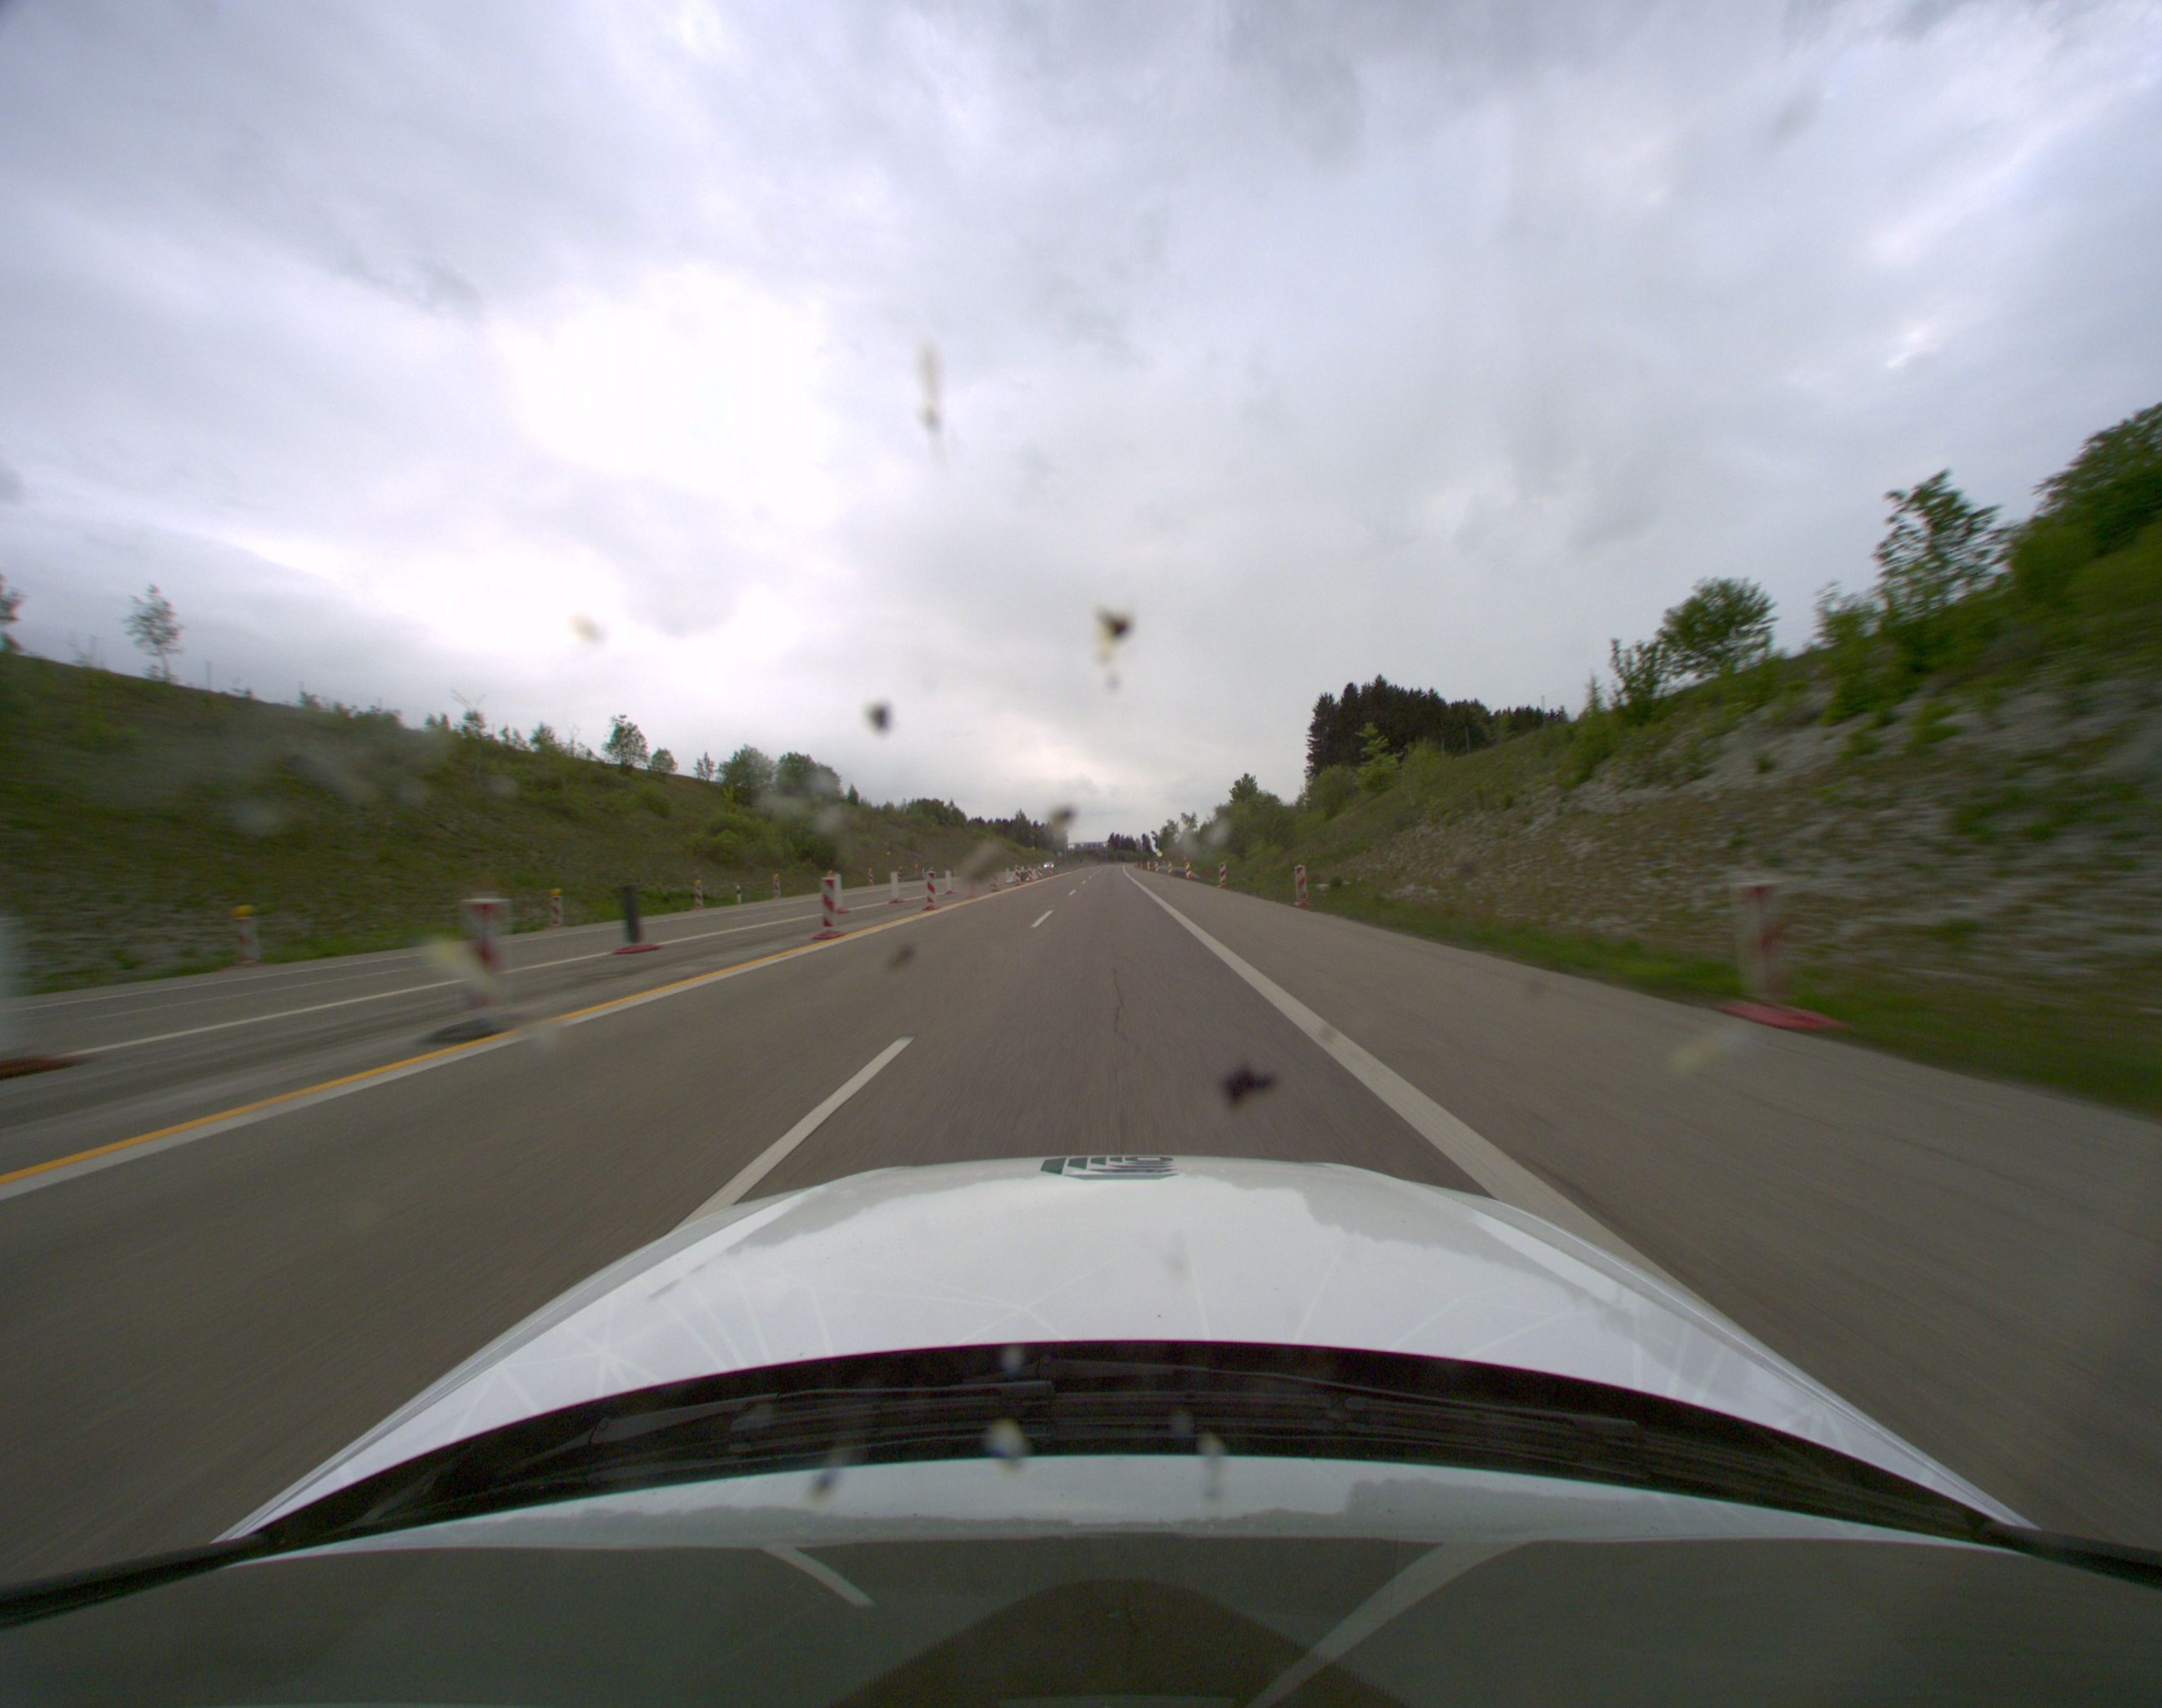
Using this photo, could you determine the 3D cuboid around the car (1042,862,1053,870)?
[{"bbox_3d":[-7.192,2.556,175.841,1.907,1.601,4.168,-2,-1,2],"label":"car"}]
